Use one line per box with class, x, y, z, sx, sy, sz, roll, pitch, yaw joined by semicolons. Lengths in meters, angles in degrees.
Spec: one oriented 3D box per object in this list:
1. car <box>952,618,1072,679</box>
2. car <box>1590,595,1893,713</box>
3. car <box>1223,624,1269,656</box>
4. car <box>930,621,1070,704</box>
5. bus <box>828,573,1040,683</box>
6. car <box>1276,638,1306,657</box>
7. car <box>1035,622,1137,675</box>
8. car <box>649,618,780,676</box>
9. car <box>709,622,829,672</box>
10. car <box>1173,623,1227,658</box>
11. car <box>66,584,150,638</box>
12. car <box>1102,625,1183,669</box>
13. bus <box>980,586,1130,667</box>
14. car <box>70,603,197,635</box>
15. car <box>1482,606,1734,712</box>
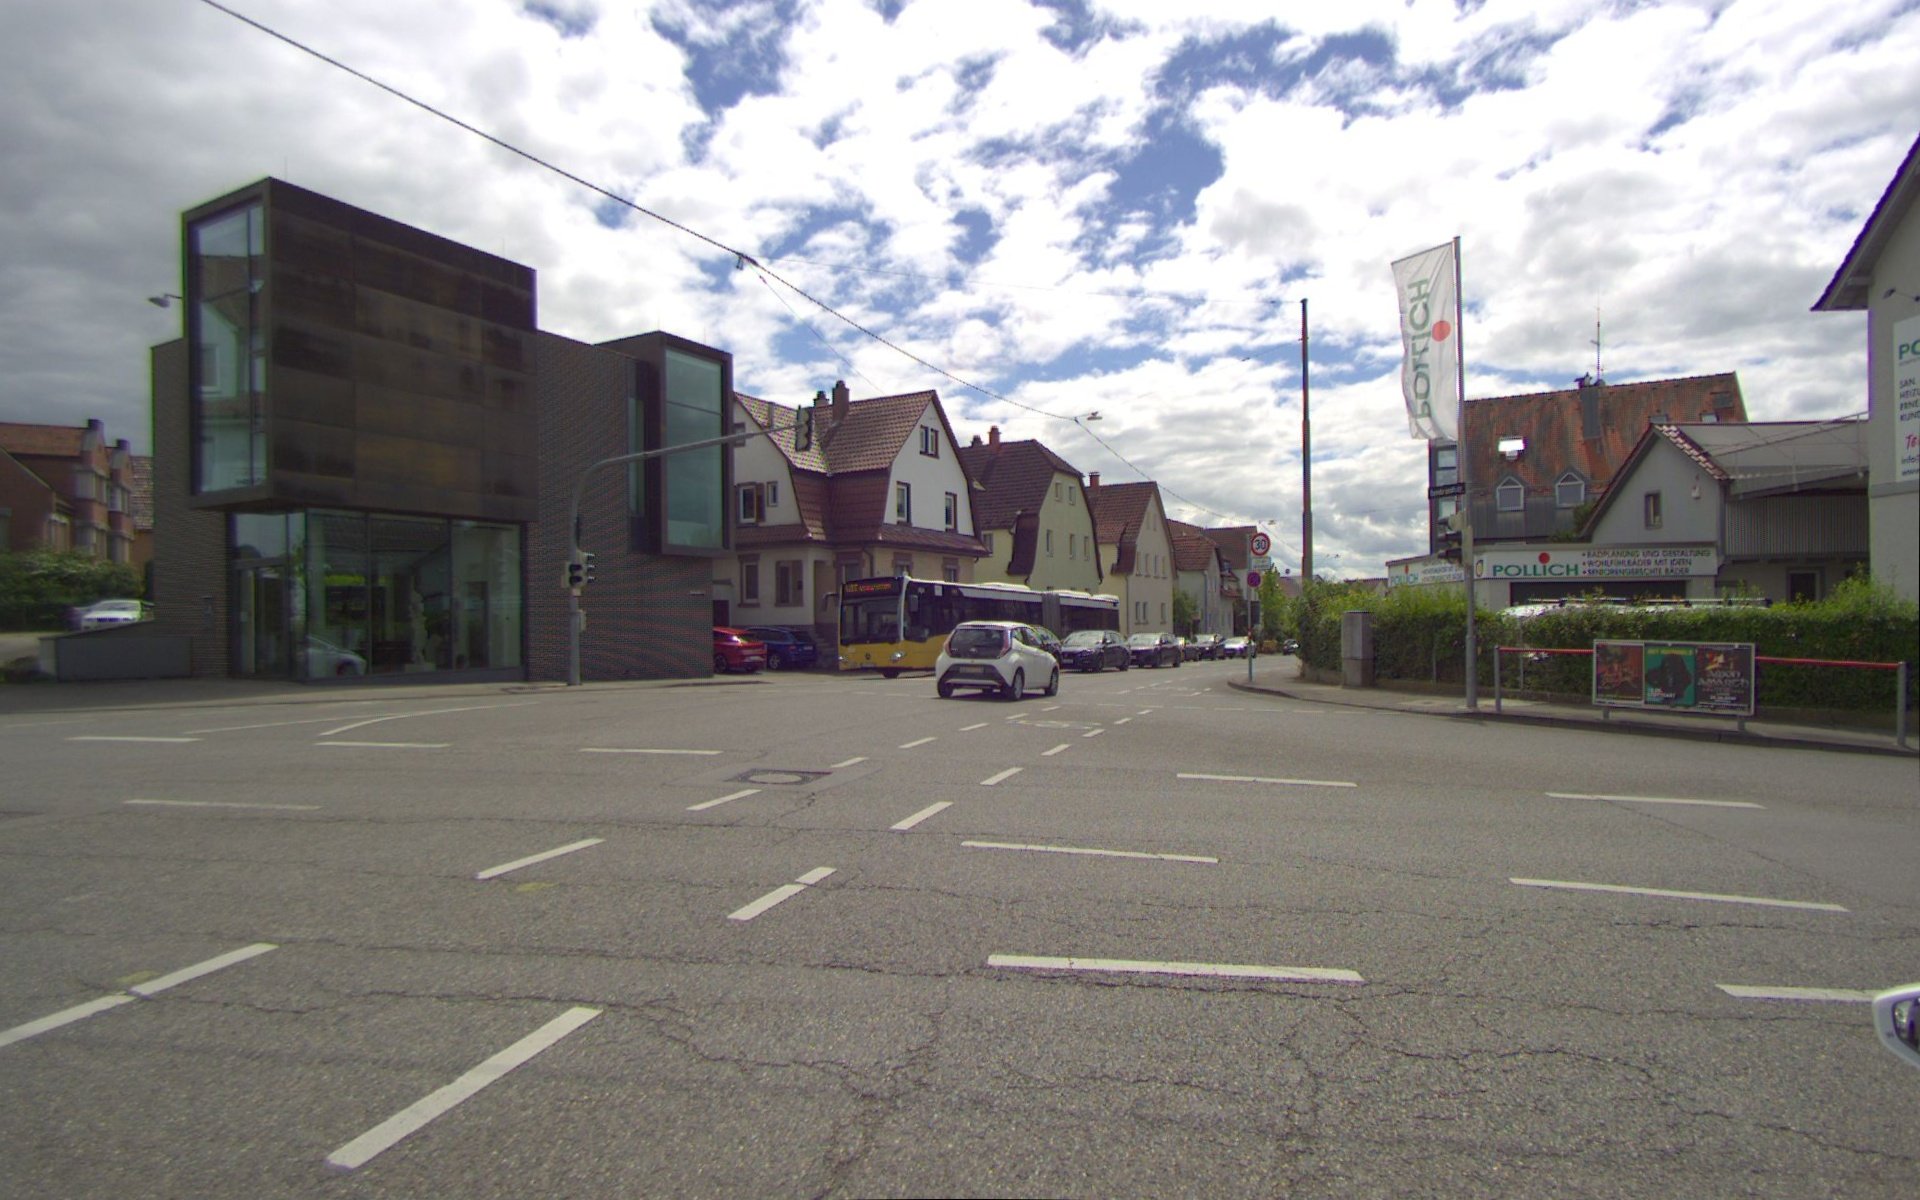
car;1.626;1.399;29.892;1.965;1.661;3.992;0;-1;30
car;14.093;0.947;18.340;3.919;1.973;2.001;1;-1;4
car;18.880;2.600;66.181;1.965;2.040;3.992;0;-1;31
car;0.894;1.169;20.014;1.710;1.479;3.531;0;-1;22
bus;-0.505;0.896;33.028;2.736;3.101;9.177;0;-1;28
car;31.596;4.493;95.842;1.965;1.661;3.992;0;-1;30
car;4.373;1.604;34.316;1.965;1.661;4.175;0;-1;30
car;-8.338;1.564;34.122;3.926;1.662;1.998;3;0;27
car;-7.004;1.679;36.791;3.926;1.706;1.998;0;-1;27
car;14.464;2.406;60.454;1.966;2.040;3.989;0;-1;33
car;-33.747;0.465;39.895;1.978;2.040;3.965;1;-1;-32
car;7.435;1.851;40.573;1.965;1.661;3.992;0;-1;30
bus;4.136;1.071;41.123;2.736;2.953;9.177;0;-1;28
car;-35.496;0.832;43.251;3.948;1.327;1.523;1;-1;-27
car;13.286;1.172;20.814;3.919;2.040;2.001;1;-1;5
